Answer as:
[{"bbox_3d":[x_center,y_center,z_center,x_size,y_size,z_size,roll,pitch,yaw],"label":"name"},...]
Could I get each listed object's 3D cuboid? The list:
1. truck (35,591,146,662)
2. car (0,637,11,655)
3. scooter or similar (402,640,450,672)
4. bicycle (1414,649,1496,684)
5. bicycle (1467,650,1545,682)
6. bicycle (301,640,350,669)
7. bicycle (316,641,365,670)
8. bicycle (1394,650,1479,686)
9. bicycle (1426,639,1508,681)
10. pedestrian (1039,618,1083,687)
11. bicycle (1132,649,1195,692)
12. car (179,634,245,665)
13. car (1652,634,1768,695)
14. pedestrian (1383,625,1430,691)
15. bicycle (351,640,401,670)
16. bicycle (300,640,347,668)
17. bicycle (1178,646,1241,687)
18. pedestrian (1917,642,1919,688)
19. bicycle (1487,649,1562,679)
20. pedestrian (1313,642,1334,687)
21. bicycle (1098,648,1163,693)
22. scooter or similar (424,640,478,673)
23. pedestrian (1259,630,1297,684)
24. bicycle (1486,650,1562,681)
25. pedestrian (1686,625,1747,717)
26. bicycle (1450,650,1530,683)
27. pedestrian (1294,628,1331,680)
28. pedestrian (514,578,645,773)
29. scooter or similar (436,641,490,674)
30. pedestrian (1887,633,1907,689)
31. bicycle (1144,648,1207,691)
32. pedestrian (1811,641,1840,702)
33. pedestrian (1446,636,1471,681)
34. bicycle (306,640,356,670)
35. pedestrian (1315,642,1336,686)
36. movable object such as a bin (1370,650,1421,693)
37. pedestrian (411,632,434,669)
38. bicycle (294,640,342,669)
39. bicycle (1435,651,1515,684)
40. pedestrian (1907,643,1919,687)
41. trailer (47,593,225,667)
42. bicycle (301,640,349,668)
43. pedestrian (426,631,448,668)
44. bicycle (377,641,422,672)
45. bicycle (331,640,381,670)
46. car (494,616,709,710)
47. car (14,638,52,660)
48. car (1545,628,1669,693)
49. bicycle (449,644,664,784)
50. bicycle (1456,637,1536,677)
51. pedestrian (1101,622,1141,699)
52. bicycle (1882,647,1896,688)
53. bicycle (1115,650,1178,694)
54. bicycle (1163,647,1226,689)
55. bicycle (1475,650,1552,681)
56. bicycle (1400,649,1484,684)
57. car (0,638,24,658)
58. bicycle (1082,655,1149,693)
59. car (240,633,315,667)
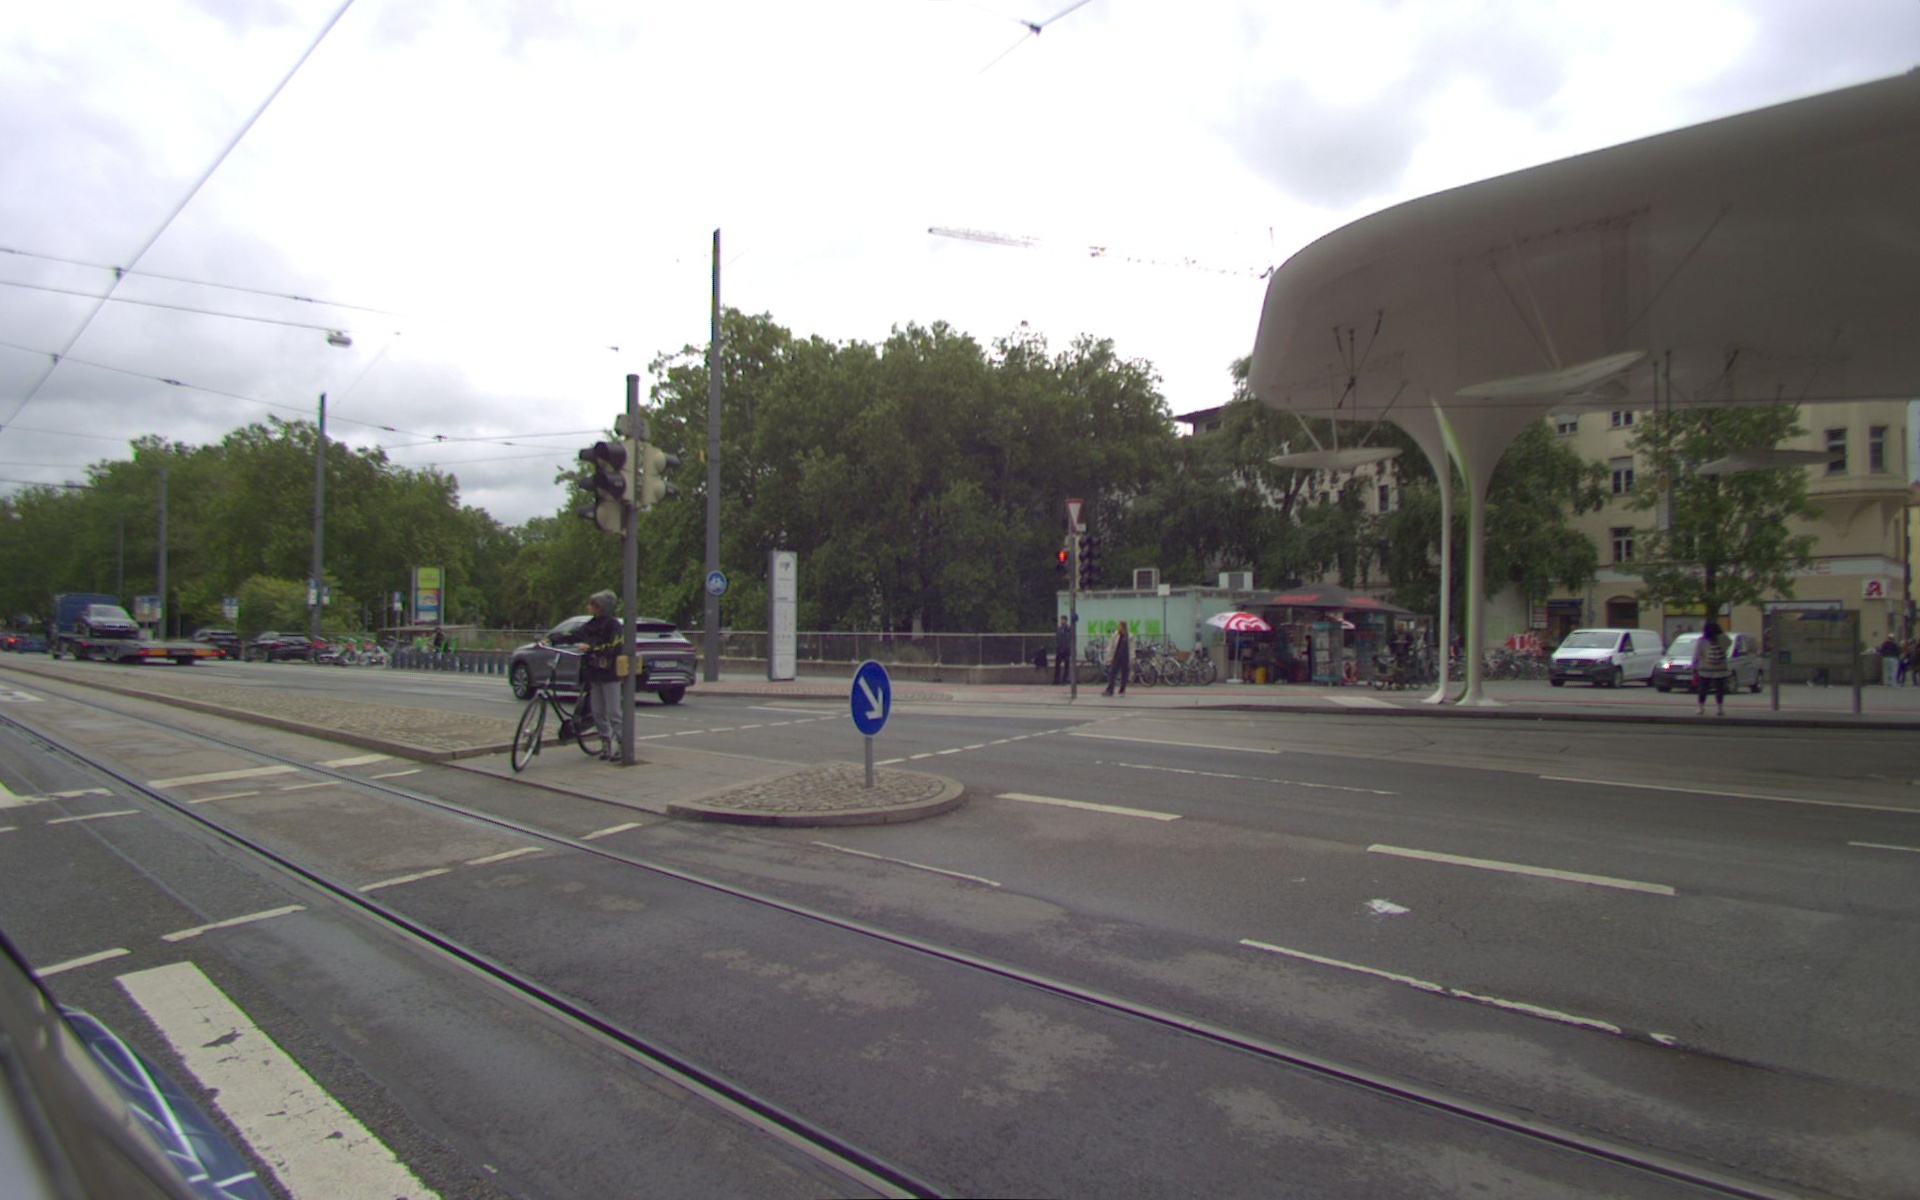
[{"bbox_3d":[-40.842,1.287,47.461,7.683,3.111,2.540,-2,-4,39],"label":"truck"},{"bbox_3d":[-88.615,4.231,92.860,3.998,1.655,1.786,-2,-3,41],"label":"car"},{"bbox_3d":[-20.551,2.144,38.983,0.558,1.181,1.681,-1,-2,22],"label":"scooter or similar"},{"bbox_3d":[17.398,2.330,35.617,2.523,1.138,0.635,-2,-2,42],"label":"bicycle"},{"bbox_3d":[20.678,2.480,38.358,2.523,1.138,0.635,-1,-2,42],"label":"bicycle"},{"bbox_3d":[-26.751,2.304,42.693,0.504,1.181,1.674,-1,-2,33],"label":"bicycle"},{"bbox_3d":[-25.556,2.273,41.758,0.504,1.181,1.675,-1,-2,31],"label":"bicycle"},{"bbox_3d":[16.167,2.286,34.375,2.523,1.138,0.635,-1,-2,42],"label":"bicycle"},{"bbox_3d":[18.309,2.153,36.600,2.562,1.432,0.627,-1,-2,42],"label":"bicycle"},{"bbox_3d":[2.604,1.336,26.067,0.725,1.729,0.862,2,-2,-38],"label":"pedestrian"},{"bbox_3d":[5.465,1.881,27.321,0.472,1.104,1.854,1,-2,-35],"label":"bicycle"},{"bbox_3d":[-39.687,2.595,53.636,4.099,1.582,1.973,-2,-3,41],"label":"car"},{"bbox_3d":[21.646,1.788,29.169,3.937,1.628,1.834,2,-2,-41],"label":"car"},{"bbox_3d":[12.252,1.576,27.763,0.956,1.776,1.019,-1,-2,38],"label":"pedestrian"},{"bbox_3d":[-23.624,2.224,40.959,0.560,1.181,1.675,-1,-2,31],"label":"bicycle"},{"bbox_3d":[-27.838,2.346,44.279,0.561,1.181,1.671,-2,-2,38],"label":"bicycle"},{"bbox_3d":[6.980,1.846,28.350,0.472,1.104,1.854,1,-2,-35],"label":"bicycle"},{"bbox_3d":[34.724,2.350,36.322,0.457,1.638,0.575,-2,0,38],"label":"pedestrian"},{"bbox_3d":[22.595,2.543,40.531,2.523,1.138,0.635,-1,-2,42],"label":"bicycle"},{"bbox_3d":[10.589,1.879,29.465,0.405,1.279,0.431,2,-3,-44],"label":"pedestrian"},{"bbox_3d":[4.443,1.817,26.478,0.472,1.104,1.853,2,-2,-38],"label":"bicycle"},{"bbox_3d":[-18.887,2.100,37.577,0.561,1.181,1.671,-2,-2,39],"label":"scooter or similar"},{"bbox_3d":[9.726,1.729,30.953,0.728,1.612,0.799,1,-2,-34],"label":"pedestrian"},{"bbox_3d":[22.049,2.558,39.596,2.523,1.138,0.635,-2,-3,42],"label":"bicycle"},{"bbox_3d":[13.760,1.273,18.409,0.838,1.622,0.738,-1,-2,38],"label":"pedestrian"},{"bbox_3d":[19.608,2.450,37.486,2.523,1.138,0.635,-1,-2,42],"label":"bicycle"},{"bbox_3d":[11.131,1.697,31.969,0.728,1.612,0.799,1,-2,-34],"label":"pedestrian"},{"bbox_3d":[-3.770,0.711,10.074,0.891,1.825,0.855,0,-1,21],"label":"pedestrian"},{"bbox_3d":[-18.036,2.077,36.751,0.561,1.181,1.671,-2,-2,39],"label":"scooter or similar"},{"bbox_3d":[34.090,2.211,36.832,0.457,2.029,0.575,-2,0,38],"label":"pedestrian"},{"bbox_3d":[5.867,1.872,27.650,0.472,1.104,1.854,1,-2,-35],"label":"bicycle"},{"bbox_3d":[29.215,2.388,34.164,0.692,2.029,0.690,-1,-2,39],"label":"pedestrian"},{"bbox_3d":[17.813,2.075,36.161,0.636,1.594,0.627,-2,-2,41],"label":"pedestrian"},{"bbox_3d":[-26.291,2.292,42.331,0.560,1.181,1.675,-1,-2,31],"label":"bicycle"},{"bbox_3d":[10.831,1.895,29.963,0.405,1.279,0.431,2,-3,-44],"label":"pedestrian"},{"bbox_3d":[11.550,1.878,26.828,0.956,1.092,1.320,-1,-2,38],"label":"movable object such as a bin"},{"bbox_3d":[-22.786,2.146,42.900,0.588,1.570,0.624,-2,-3,40],"label":"pedestrian"},{"bbox_3d":[-27.325,2.319,43.094,0.504,1.181,1.673,-1,-2,34],"label":"bicycle"},{"bbox_3d":[18.823,2.446,37.003,2.523,1.138,0.635,-2,-3,42],"label":"bicycle"},{"bbox_3d":[35.113,2.384,37.141,0.458,1.603,0.517,-1,0,39],"label":"pedestrian"},{"bbox_3d":[-35.176,1.322,42.793,15.622,2.703,2.584,-1,-4,39],"label":"trailer"},{"bbox_3d":[-27.509,2.325,43.863,0.505,1.181,1.672,-2,-2,37],"label":"bicycle"},{"bbox_3d":[-22.502,2.134,43.520,0.588,1.570,0.624,-2,-3,40],"label":"pedestrian"},{"bbox_3d":[-21.735,2.173,39.266,0.556,1.181,1.687,-1,-2,11],"label":"bicycle"},{"bbox_3d":[-24.726,2.252,41.462,0.560,1.181,1.675,-1,-2,31],"label":"bicycle"},{"bbox_3d":[-7.197,1.206,20.097,4.674,1.651,1.844,-1,-4,40],"label":"car"},{"bbox_3d":[-74.767,3.942,81.604,3.998,1.655,1.786,-2,-3,41],"label":"car"},{"bbox_3d":[20.945,1.896,32.696,4.851,1.962,1.874,2,-3,-38],"label":"car"},{"bbox_3d":[-3.919,1.053,10.066,0.504,1.159,2.211,0,-1,27],"label":"bicycle"},{"bbox_3d":[20.065,2.113,37.935,2.562,1.432,0.627,-1,-2,42],"label":"bicycle"},{"bbox_3d":[3.491,1.299,21.937,0.737,1.641,0.734,-1,-2,20],"label":"pedestrian"},{"bbox_3d":[34.696,2.513,37.796,0.295,1.407,1.126,-1,0,39],"label":"bicycle"},{"bbox_3d":[4.936,1.893,26.872,0.472,1.104,1.854,1,-2,-35],"label":"bicycle"},{"bbox_3d":[6.483,1.858,28.059,0.472,1.104,1.854,1,-2,-35],"label":"bicycle"},{"bbox_3d":[21.256,2.506,38.903,2.523,1.138,0.635,-2,-3,42],"label":"bicycle"},{"bbox_3d":[16.590,2.277,34.893,2.523,1.138,0.635,-1,-2,42],"label":"bicycle"},{"bbox_3d":[-81.962,4.130,87.024,3.998,1.655,1.786,-2,-3,41],"label":"car"},{"bbox_3d":[4.010,1.899,26.143,0.473,0.901,1.852,2,-2,-41],"label":"bicycle"},{"bbox_3d":[-31.870,2.315,47.214,4.231,1.537,1.840,-2,-3,41],"label":"car"}]
